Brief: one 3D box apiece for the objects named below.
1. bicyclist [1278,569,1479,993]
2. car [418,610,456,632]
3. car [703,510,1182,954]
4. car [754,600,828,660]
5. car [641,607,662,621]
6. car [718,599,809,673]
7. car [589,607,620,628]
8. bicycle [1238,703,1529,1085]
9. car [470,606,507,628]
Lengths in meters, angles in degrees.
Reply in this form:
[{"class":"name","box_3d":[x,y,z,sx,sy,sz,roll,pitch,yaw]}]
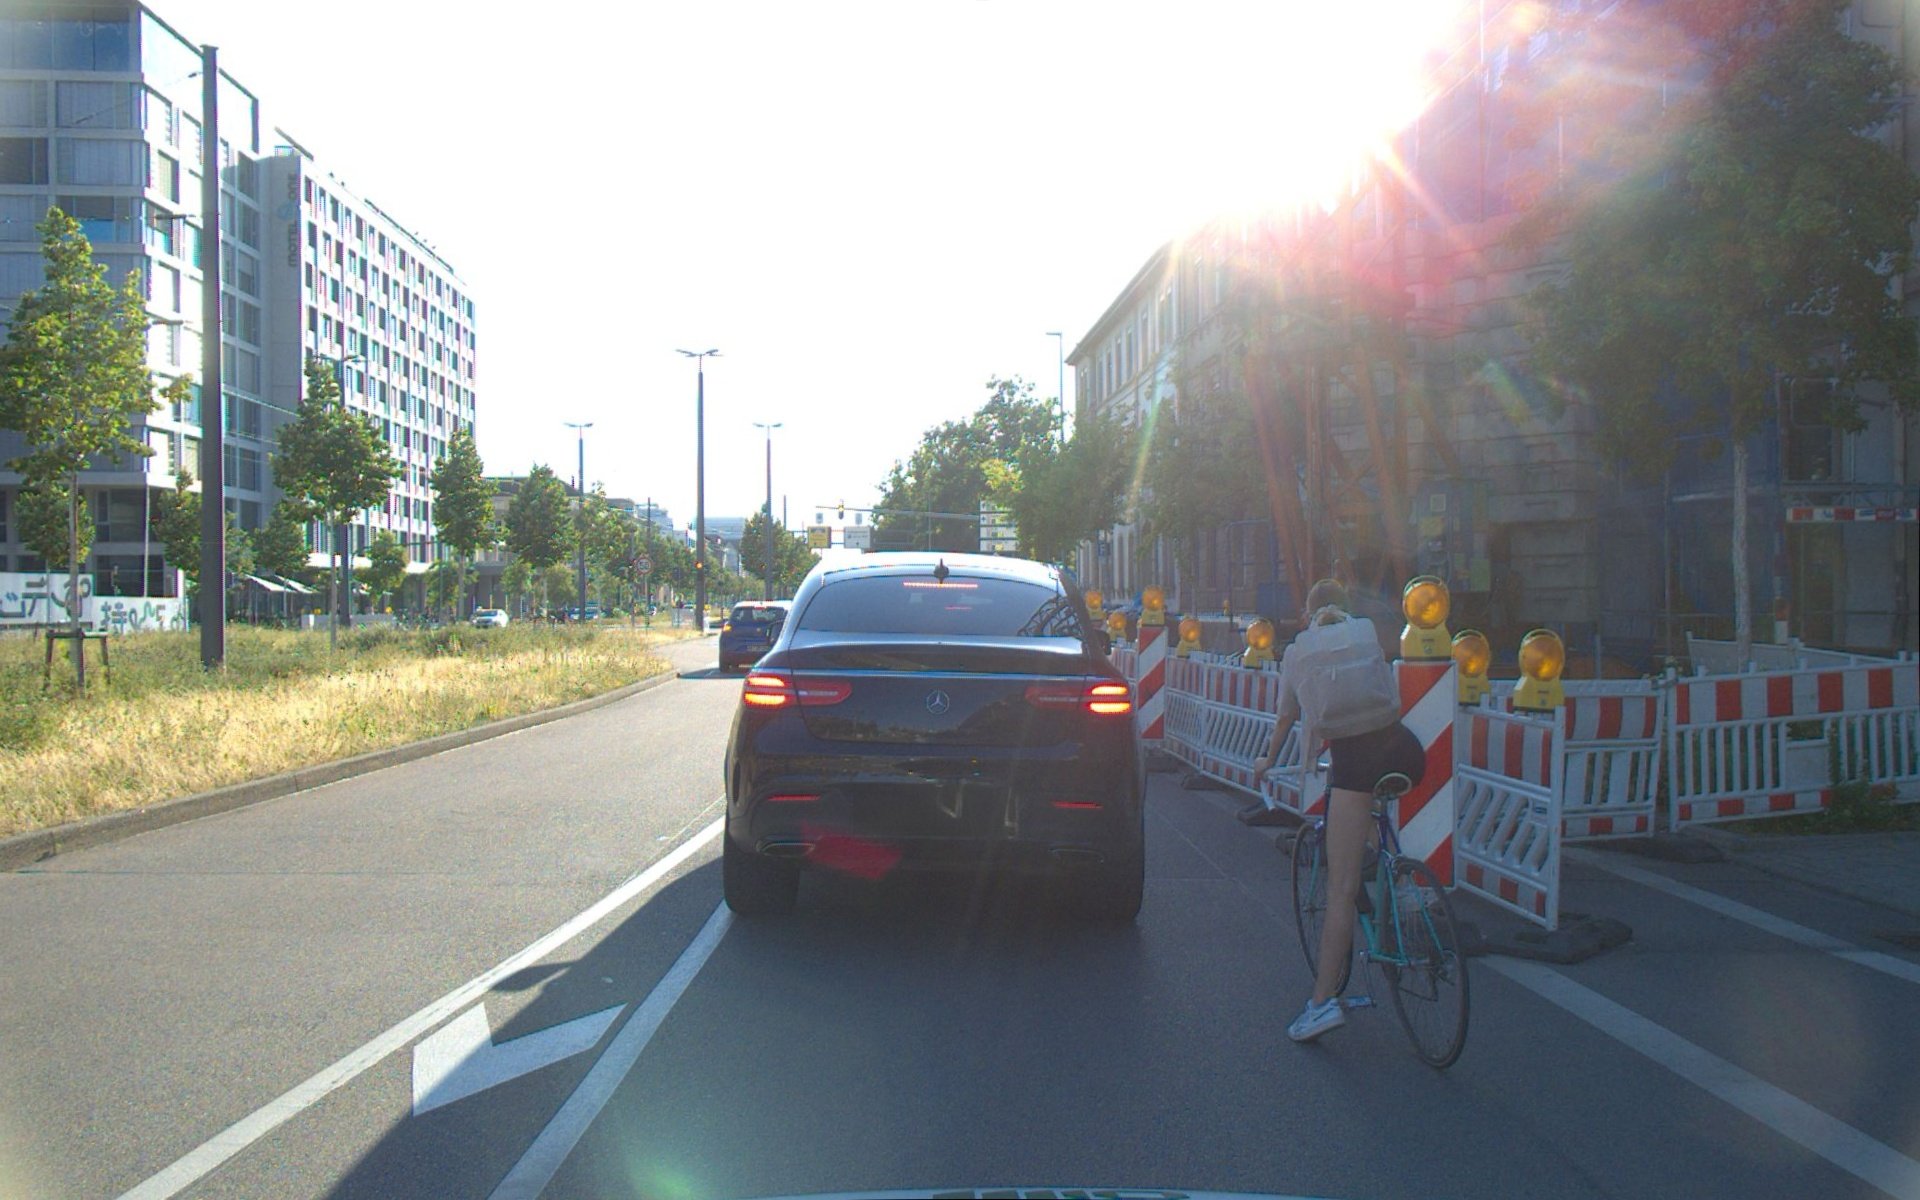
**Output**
[{"class":"bicyclist","box_3d":[1.468,0.612,5.867,0.512,1.420,0.614,1,-1,-4]},{"class":"car","box_3d":[-36.978,1.484,116.994,1.674,1.467,3.580,1,0,-3]},{"class":"car","box_3d":[-0.096,0.556,8.832,1.953,1.803,3.999,1,0,-1]},{"class":"car","box_3d":[-4.315,0.746,42.632,1.674,1.467,3.580,1,0,-3]},{"class":"car","box_3d":[-33.611,1.547,180.274,1.674,1.467,3.580,1,0,-3]},{"class":"car","box_3d":[-4.135,0.739,35.255,1.674,1.467,3.580,1,0,-3]},{"class":"car","box_3d":[-26.715,1.297,124.254,1.674,1.467,3.580,1,0,-3]},{"class":"bicycle","box_3d":[1.451,0.959,5.953,0.502,1.070,1.724,1,0,-3]},{"class":"car","box_3d":[-32.763,1.157,114.984,1.674,1.467,3.580,1,0,-3]}]
